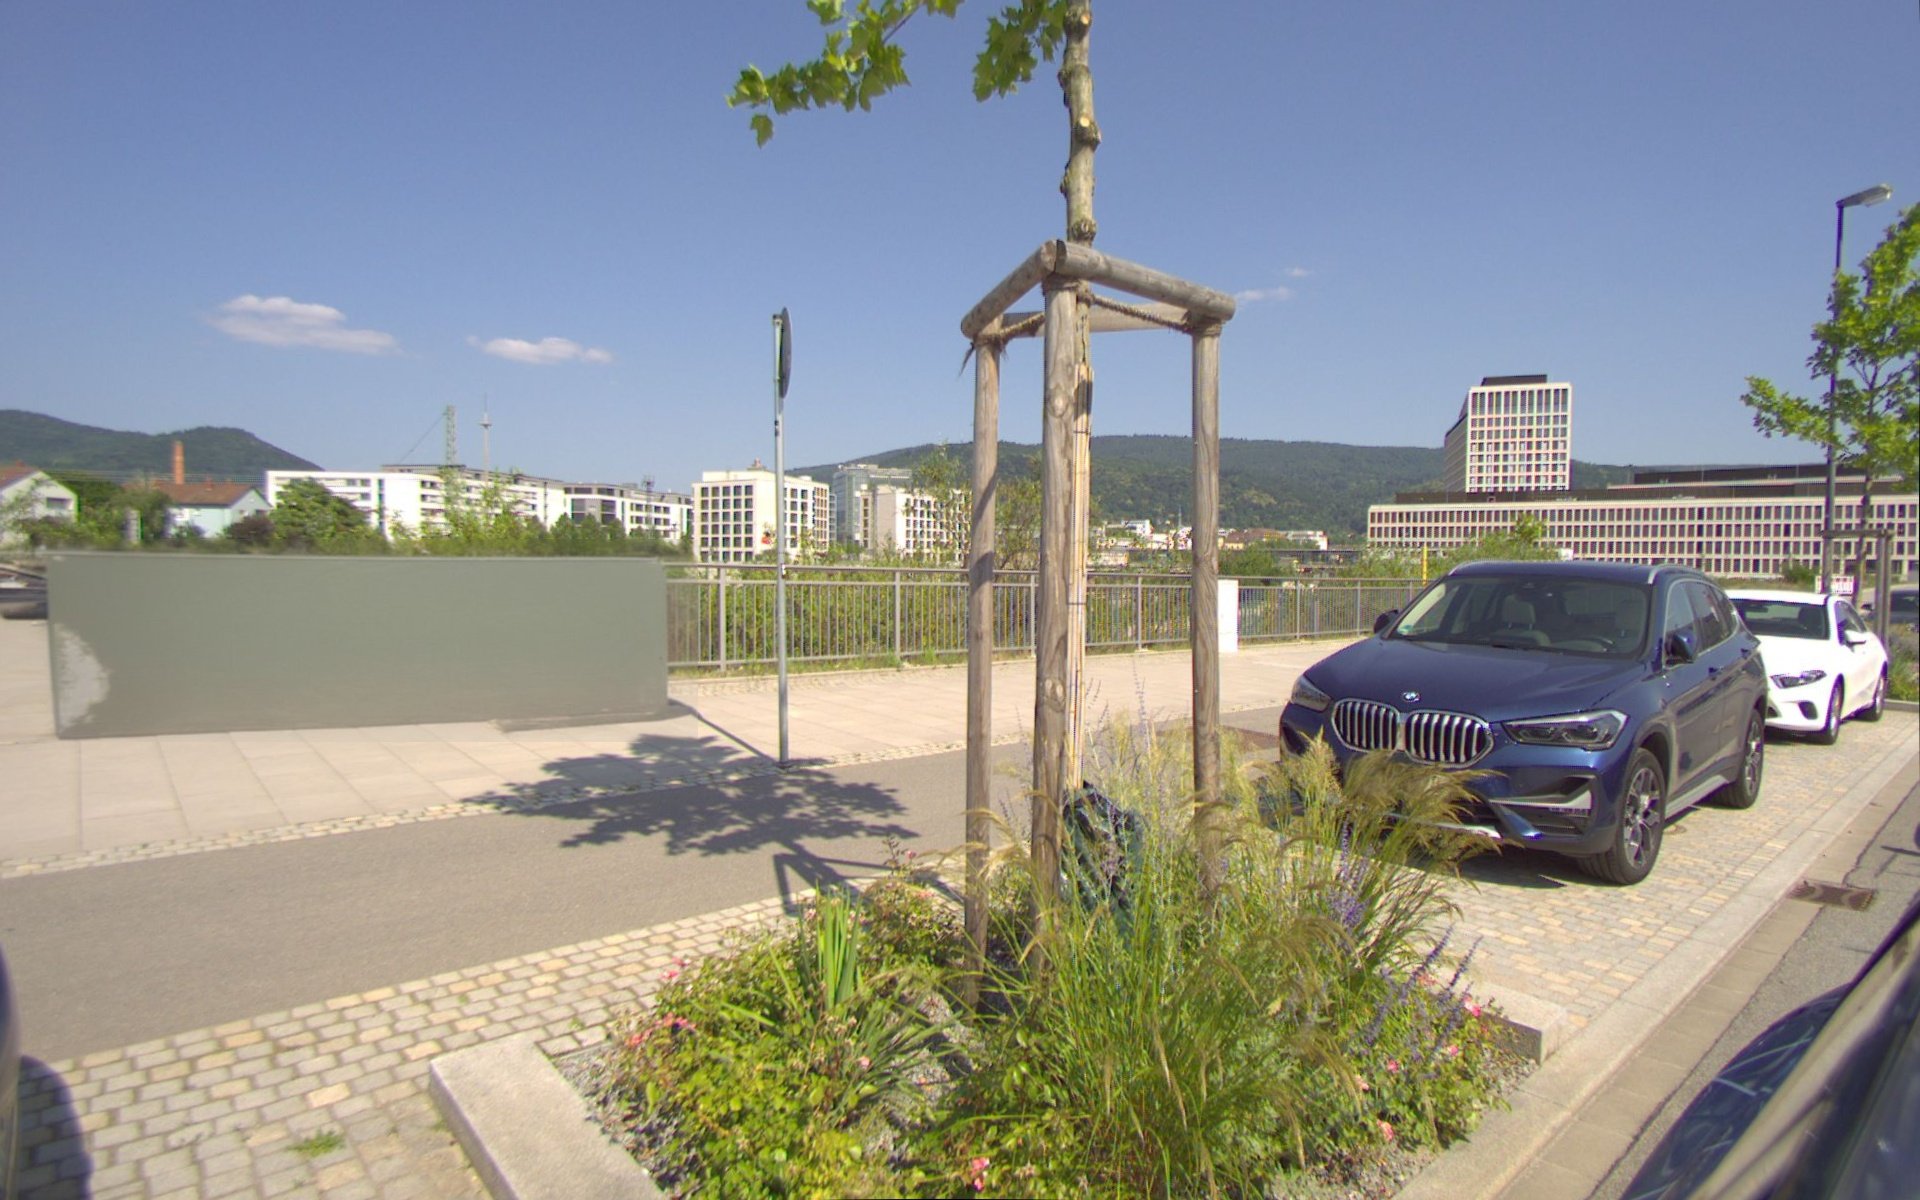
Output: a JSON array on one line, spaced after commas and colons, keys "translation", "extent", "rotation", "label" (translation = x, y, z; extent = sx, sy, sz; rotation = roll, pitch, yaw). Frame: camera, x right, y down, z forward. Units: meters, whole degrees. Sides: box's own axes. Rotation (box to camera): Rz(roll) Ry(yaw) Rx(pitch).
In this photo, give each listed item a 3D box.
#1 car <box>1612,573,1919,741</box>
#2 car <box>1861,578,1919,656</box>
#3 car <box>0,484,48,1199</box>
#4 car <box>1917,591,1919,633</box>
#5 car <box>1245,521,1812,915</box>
[{"translation": [8.867, 0.460, 11.009], "extent": [4.194, 1.390, 1.711], "rotation": [-1, 5, -39], "label": "car"}, {"translation": [20.299, 0.333, 21.056], "extent": [3.849, 1.449, 1.808], "rotation": [-1, 5, -41], "label": "car"}, {"translation": [-2.829, 0.610, 0.500], "extent": [3.485, 1.574, 1.585], "rotation": [0, 4, -41], "label": "car"}, {"translation": [27.445, 0.157, 27.648], "extent": [2.955, 1.491, 1.569], "rotation": [-1, 5, -41], "label": "car"}, {"translation": [3.797, 0.423, 6.423], "extent": [4.197, 1.703, 1.807], "rotation": [-1, 4, -41], "label": "car"}]
